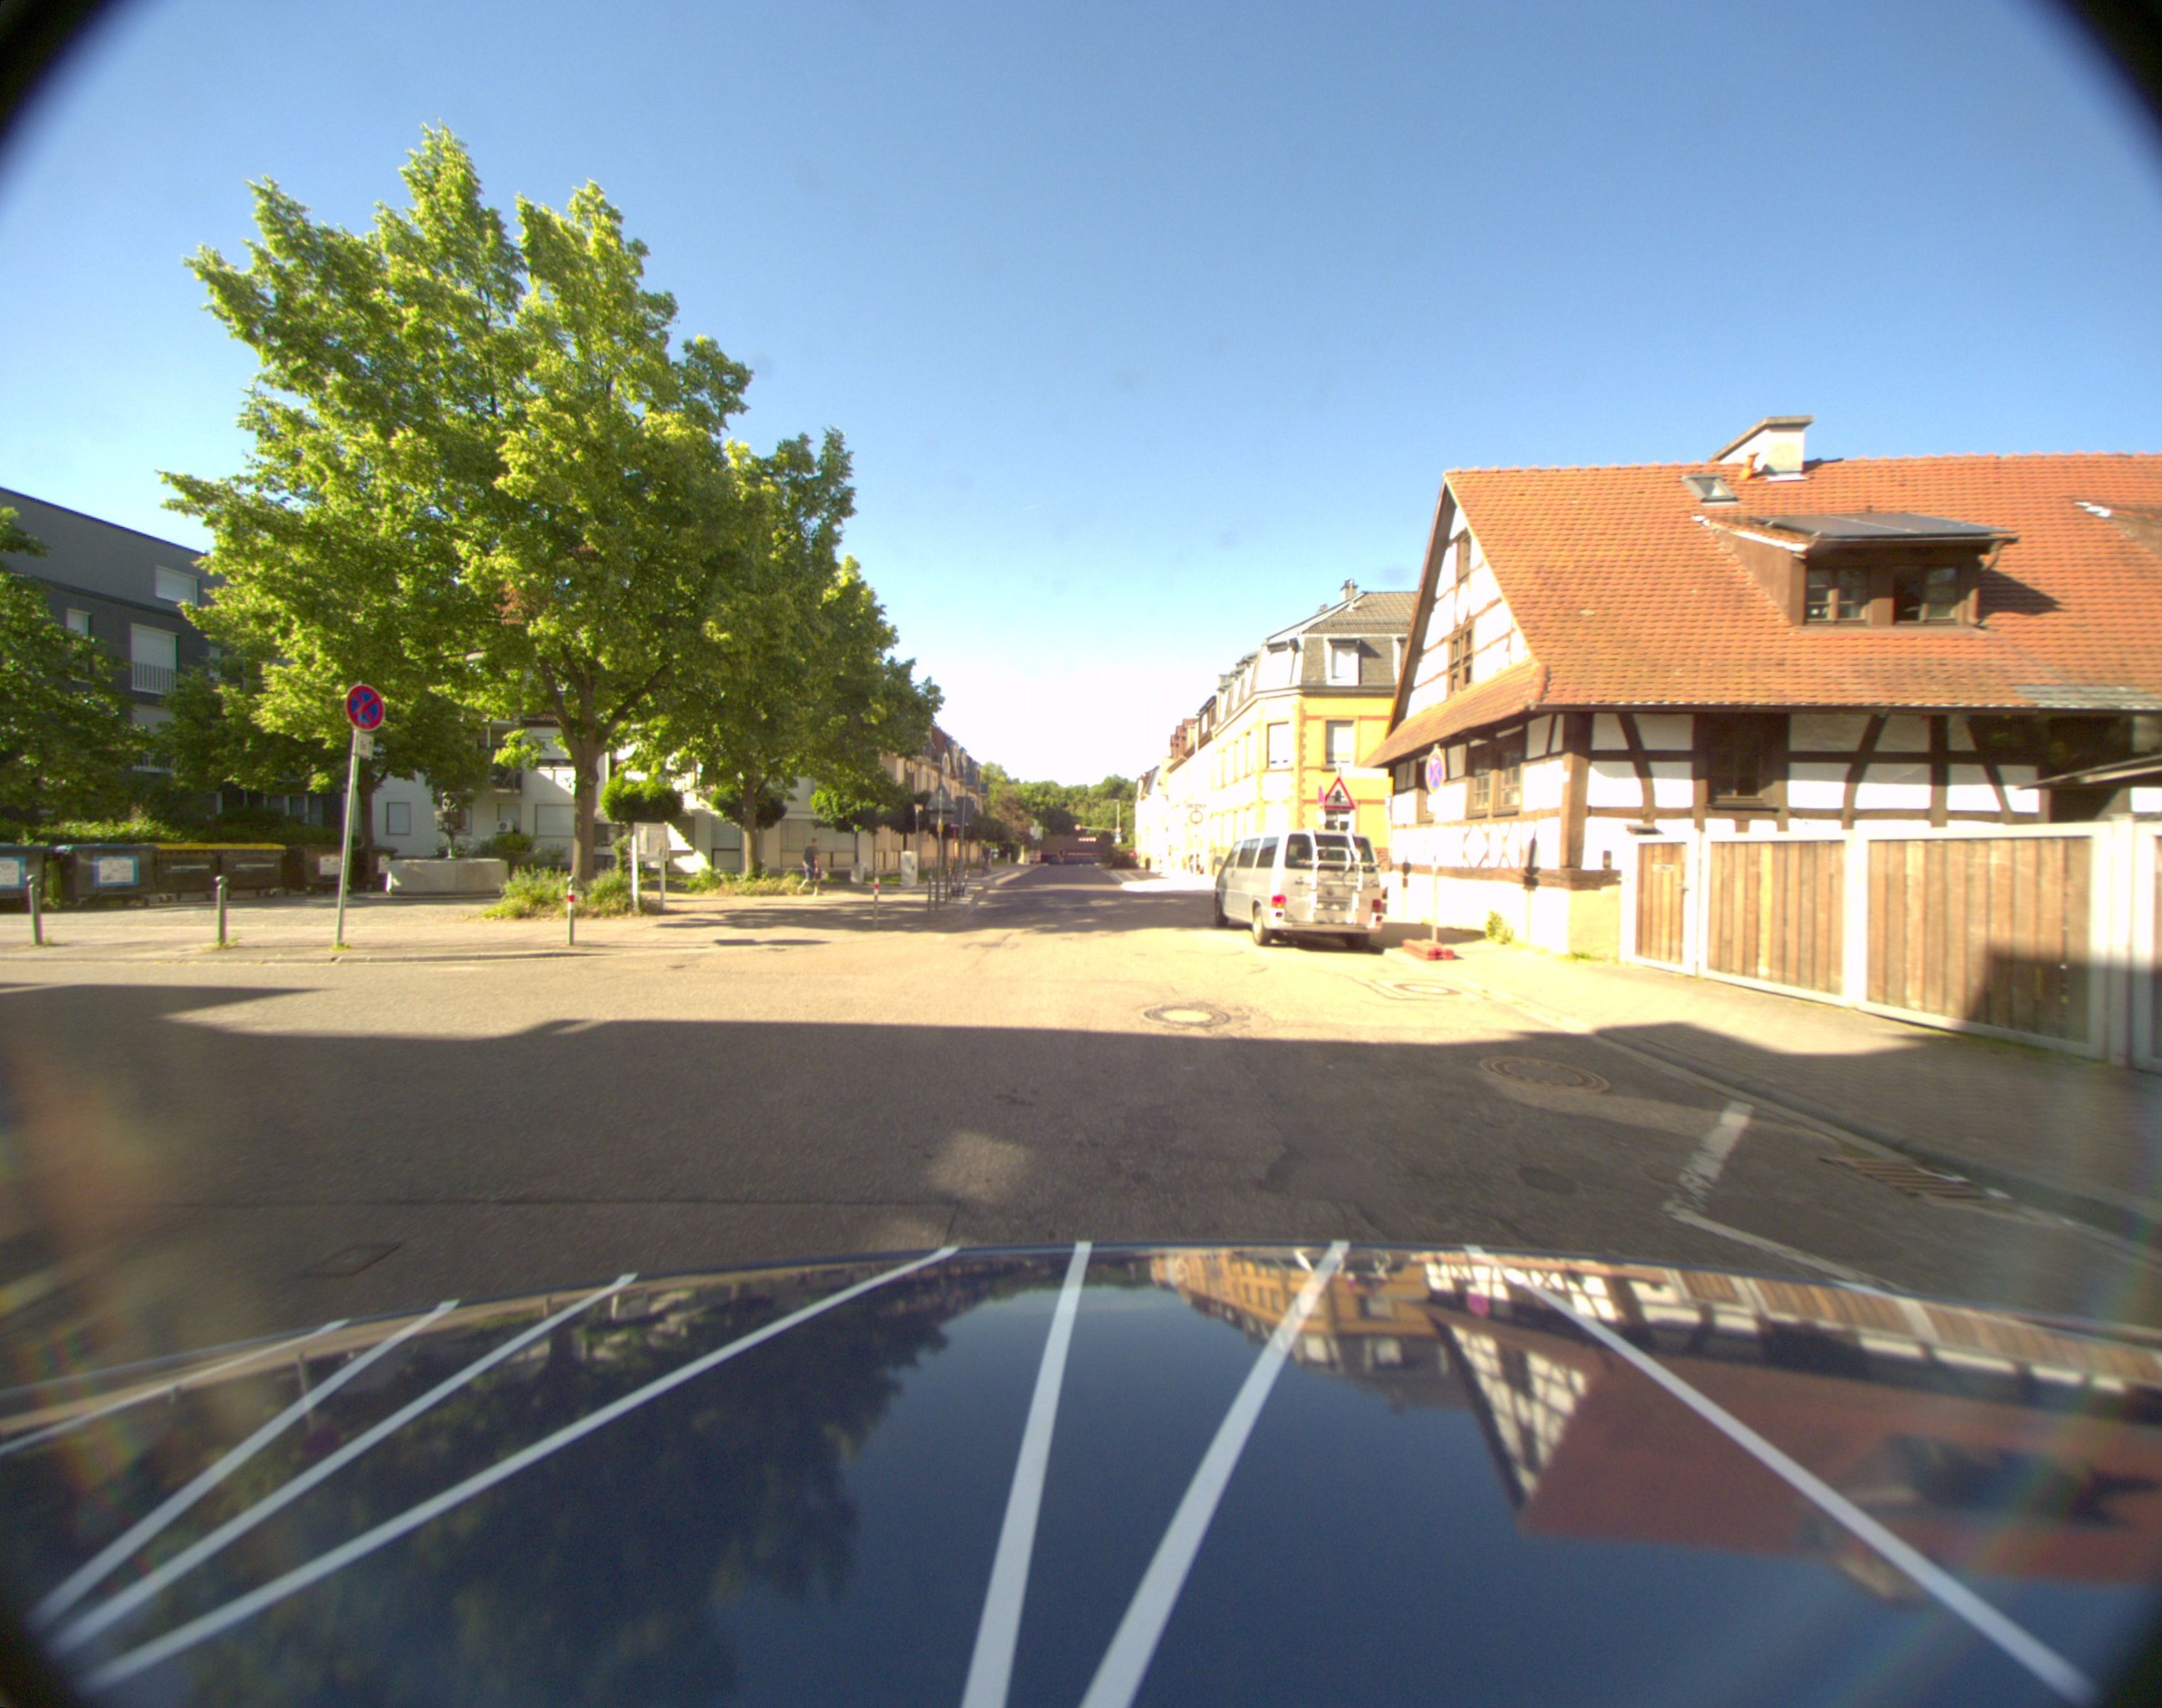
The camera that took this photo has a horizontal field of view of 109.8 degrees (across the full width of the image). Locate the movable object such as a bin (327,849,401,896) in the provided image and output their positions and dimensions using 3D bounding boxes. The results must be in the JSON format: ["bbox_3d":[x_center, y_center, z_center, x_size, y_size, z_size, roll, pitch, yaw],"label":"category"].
[{"bbox_3d":[-19.989,0.496,21.222,1.030,1.248,1.130,-2,1,-14],"label":"movable object such as a bin"}]

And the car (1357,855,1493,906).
[{"bbox_3d":[12.065,0.894,26.865,4.010,1.536,1.716,2,3,8],"label":"car"}]

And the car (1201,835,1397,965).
[{"bbox_3d":[3.609,0.658,13.636,1.880,1.870,4.833,2,1,-3],"label":"car"}]

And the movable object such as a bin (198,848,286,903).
[{"bbox_3d":[-20.096,0.509,18.223,0.970,1.248,1.016,-2,1,9],"label":"movable object such as a bin"}]

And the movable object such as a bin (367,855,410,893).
[{"bbox_3d":[-20.472,0.599,22.470,0.708,1.086,0.560,-2,1,9],"label":"movable object such as a bin"}]

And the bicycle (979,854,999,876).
[{"bbox_3d":[-4.926,0.590,40.807,0.668,1.058,1.817,4,1,3],"label":"bicycle"}]

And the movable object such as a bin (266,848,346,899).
[{"bbox_3d":[-19.889,0.493,19.531,0.970,1.248,1.016,-2,1,9],"label":"movable object such as a bin"}]

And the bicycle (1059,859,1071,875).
[{"bbox_3d":[-1.754,1.352,82.287,1.257,1.543,3.998,-2,1,-2],"label":"bicycle"}]

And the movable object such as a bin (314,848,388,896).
[{"bbox_3d":[-19.730,0.474,20.556,0.970,1.248,1.016,-2,1,9],"label":"movable object such as a bin"}]

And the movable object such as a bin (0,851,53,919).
[{"bbox_3d":[-20.600,0.572,14.323,0.970,1.248,1.106,1,2,9],"label":"movable object such as a bin"}]

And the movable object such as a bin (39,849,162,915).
[{"bbox_3d":[-19.893,0.548,15.444,0.970,1.251,1.148,-2,1,9],"label":"movable object such as a bin"}]

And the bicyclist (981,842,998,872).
[{"bbox_3d":[-4.894,0.159,40.838,0.668,1.530,0.914,4,2,3],"label":"bicyclist"}]

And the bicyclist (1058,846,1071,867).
[{"bbox_3d":[-1.800,0.258,82.339,1.257,2.295,1.242,-2,1,-3],"label":"bicyclist"}]

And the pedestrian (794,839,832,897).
[{"bbox_3d":[-8.002,0.407,22.712,0.659,1.707,0.829,1,1,29],"label":"pedestrian"}]

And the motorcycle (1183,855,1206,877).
[{"bbox_3d":[6.804,0.692,45.675,0.848,1.245,2.256,-2,1,-3],"label":"motorcycle"}]

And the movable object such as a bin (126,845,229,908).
[{"bbox_3d":[-20.275,0.482,17.077,0.970,1.333,1.106,-2,1,9],"label":"movable object such as a bin"}]

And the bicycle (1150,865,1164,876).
[{"bbox_3d":[4.822,1.026,48.193,0.382,0.606,1.344,-1,1,30],"label":"bicycle"}]
